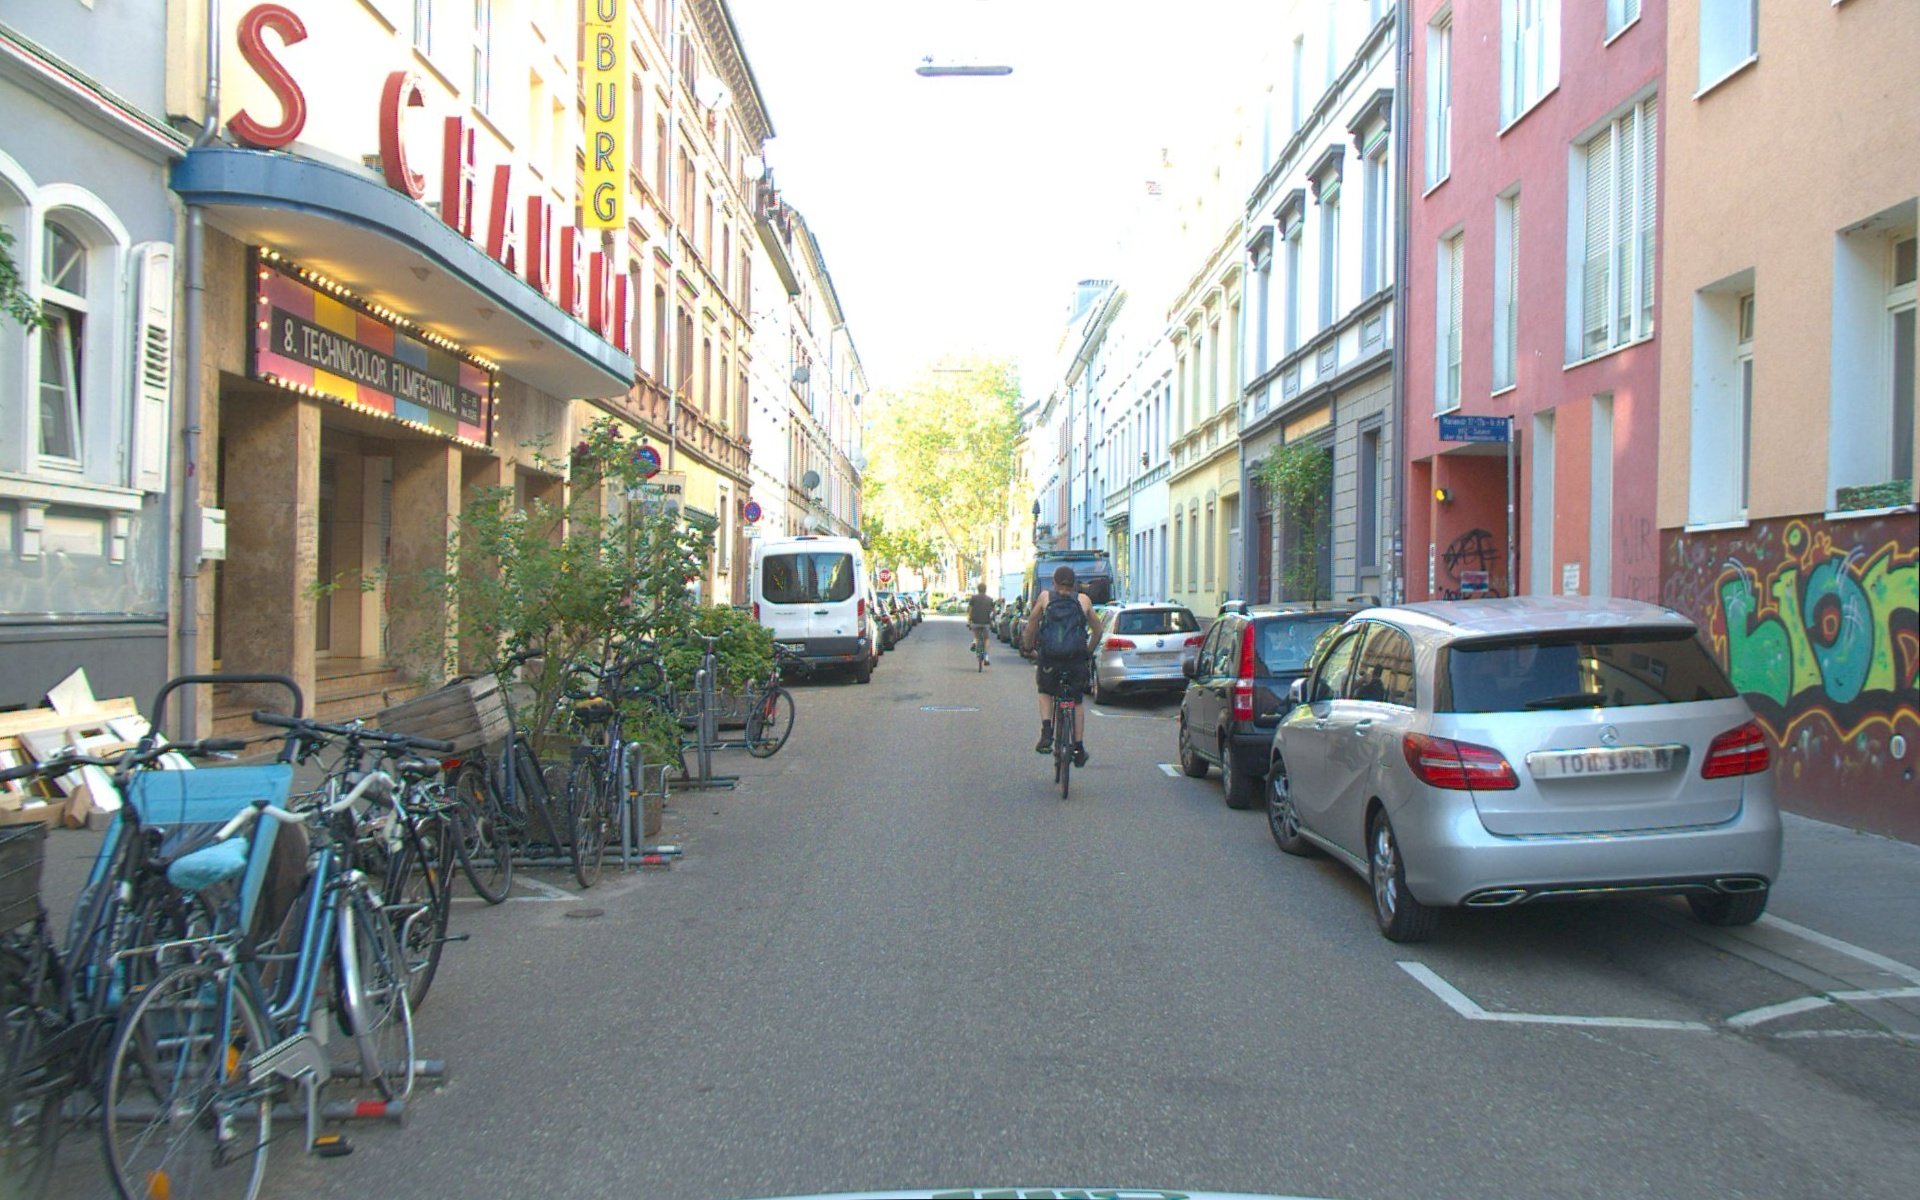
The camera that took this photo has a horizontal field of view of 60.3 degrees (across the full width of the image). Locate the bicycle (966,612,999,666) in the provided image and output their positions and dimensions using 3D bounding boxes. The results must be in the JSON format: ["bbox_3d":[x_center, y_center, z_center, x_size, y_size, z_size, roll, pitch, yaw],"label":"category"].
[{"bbox_3d":[0.452,0.785,34.064,0.650,1.055,1.958,0,0,0],"label":"bicycle"}]

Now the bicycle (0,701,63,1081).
[{"bbox_3d":[-3.098,0.888,4.456,0.434,1.125,1.697,2,0,-1],"label":"bicycle"}]

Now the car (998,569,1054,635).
[{"bbox_3d":[2.662,0.057,67.734,2.159,2.595,6.037,0,0,2],"label":"car"}]

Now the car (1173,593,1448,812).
[{"bbox_3d":[2.810,0.753,13.946,1.569,1.566,3.450,-2,0,0],"label":"car"}]

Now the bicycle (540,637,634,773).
[{"bbox_3d":[-3.183,0.871,14.191,0.562,1.063,1.408,1,0,-5],"label":"bicycle"}]

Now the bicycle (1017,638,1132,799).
[{"bbox_3d":[0.888,0.904,13.341,0.725,1.120,2.042,2,0,-1],"label":"bicycle"}]

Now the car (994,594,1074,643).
[{"bbox_3d":[2.505,0.618,57.237,1.778,1.503,4.598,-3,1,-10],"label":"car"}]

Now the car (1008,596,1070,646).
[{"bbox_3d":[2.463,0.647,52.453,1.710,1.511,4.242,0,0,-1],"label":"car"}]

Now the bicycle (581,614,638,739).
[{"bbox_3d":[-3.584,0.757,16.989,0.332,1.194,1.489,2,0,-4],"label":"bicycle"}]

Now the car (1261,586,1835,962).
[{"bbox_3d":[2.885,0.731,9.132,1.710,1.583,4.171,1,0,0],"label":"car"}]

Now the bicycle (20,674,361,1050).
[{"bbox_3d":[-2.716,0.891,5.945,0.796,1.195,0.920,1,0,-3],"label":"bicycle"}]

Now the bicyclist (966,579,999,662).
[{"bbox_3d":[0.452,0.415,34.061,0.656,1.687,0.877,0,0,-1],"label":"bicyclist"}]

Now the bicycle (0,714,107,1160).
[{"bbox_3d":[-2.705,0.901,3.905,0.434,1.125,1.873,2,0,-2],"label":"bicycle"}]

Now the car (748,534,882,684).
[{"bbox_3d":[-2.595,0.135,30.914,2.124,2.495,5.919,-1,0,-2],"label":"car"}]

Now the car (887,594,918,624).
[{"bbox_3d":[-3.024,0.452,86.622,1.514,1.578,3.463,0,0,-4],"label":"car"}]

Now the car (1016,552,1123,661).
[{"bbox_3d":[2.620,0.141,41.134,2.131,2.468,6.308,-1,0,-1],"label":"car"}]

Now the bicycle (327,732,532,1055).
[{"bbox_3d":[-1.882,1.000,5.988,0.315,0.932,1.290,0,0,0],"label":"bicycle"}]

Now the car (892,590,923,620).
[{"bbox_3d":[-3.119,0.278,98.823,1.751,1.767,3.875,0,0,-1],"label":"car"}]

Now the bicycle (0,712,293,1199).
[{"bbox_3d":[-2.366,0.931,4.349,0.434,1.125,1.931,2,0,-1],"label":"bicycle"}]

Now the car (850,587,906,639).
[{"bbox_3d":[-2.908,0.446,59.274,1.764,1.728,4.000,-2,0,0],"label":"car"}]

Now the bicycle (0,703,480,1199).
[{"bbox_3d":[-1.790,0.901,4.392,0.489,1.125,1.829,2,0,-1],"label":"bicycle"}]

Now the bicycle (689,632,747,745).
[{"bbox_3d":[-2.541,0.906,17.451,0.433,1.066,1.863,2,0,-4],"label":"bicycle"}]

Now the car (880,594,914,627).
[{"bbox_3d":[-3.032,0.491,79.247,1.572,1.557,3.377,-1,0,-2],"label":"car"}]

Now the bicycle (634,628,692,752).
[{"bbox_3d":[-3.116,0.920,17.414,0.391,1.194,1.668,2,0,-4],"label":"bicycle"}]

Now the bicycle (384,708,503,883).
[{"bbox_3d":[-2.919,1.081,9.422,0.251,0.832,1.299,1,0,0],"label":"bicycle"}]

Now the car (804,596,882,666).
[{"bbox_3d":[-2.565,0.648,36.968,1.612,1.472,3.838,0,0,-2],"label":"car"}]

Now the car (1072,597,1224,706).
[{"bbox_3d":[2.852,0.735,26.008,1.750,1.479,4.546,-2,0,-1],"label":"car"}]

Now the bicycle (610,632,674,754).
[{"bbox_3d":[-3.020,0.864,15.778,0.409,1.066,1.317,2,0,-4],"label":"bicycle"}]

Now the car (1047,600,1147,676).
[{"bbox_3d":[2.832,0.746,34.905,1.712,1.469,4.171,1,0,0],"label":"car"}]

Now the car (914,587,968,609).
[{"bbox_3d":[-1.622,-0.172,138.252,4.381,1.790,1.864,0,0,-5],"label":"car"}]

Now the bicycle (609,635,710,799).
[{"bbox_3d":[-2.306,0.866,12.858,0.535,1.113,1.880,2,0,-4],"label":"bicycle"}]

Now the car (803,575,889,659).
[{"bbox_3d":[-2.803,0.386,41.561,1.790,1.925,4.613,-2,0,0],"label":"car"}]

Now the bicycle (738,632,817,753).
[{"bbox_3d":[-1.829,0.889,16.395,0.453,1.066,1.742,2,0,-16],"label":"bicycle"}]

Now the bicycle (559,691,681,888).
[{"bbox_3d":[-1.871,1.015,9.234,0.382,0.932,1.393,0,0,0],"label":"bicycle"}]

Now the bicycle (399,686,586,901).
[{"bbox_3d":[-2.463,0.986,8.876,0.542,0.960,1.571,0,0,0],"label":"bicycle"}]

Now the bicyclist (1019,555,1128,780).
[{"bbox_3d":[0.897,0.521,13.358,0.725,1.708,1.116,2,0,-1],"label":"bicyclist"}]

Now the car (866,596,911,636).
[{"bbox_3d":[-2.764,0.601,64.254,1.559,1.465,3.654,0,0,0],"label":"car"}]

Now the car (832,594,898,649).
[{"bbox_3d":[-2.736,0.586,48.255,1.824,1.465,4.643,0,1,-2],"label":"car"}]
